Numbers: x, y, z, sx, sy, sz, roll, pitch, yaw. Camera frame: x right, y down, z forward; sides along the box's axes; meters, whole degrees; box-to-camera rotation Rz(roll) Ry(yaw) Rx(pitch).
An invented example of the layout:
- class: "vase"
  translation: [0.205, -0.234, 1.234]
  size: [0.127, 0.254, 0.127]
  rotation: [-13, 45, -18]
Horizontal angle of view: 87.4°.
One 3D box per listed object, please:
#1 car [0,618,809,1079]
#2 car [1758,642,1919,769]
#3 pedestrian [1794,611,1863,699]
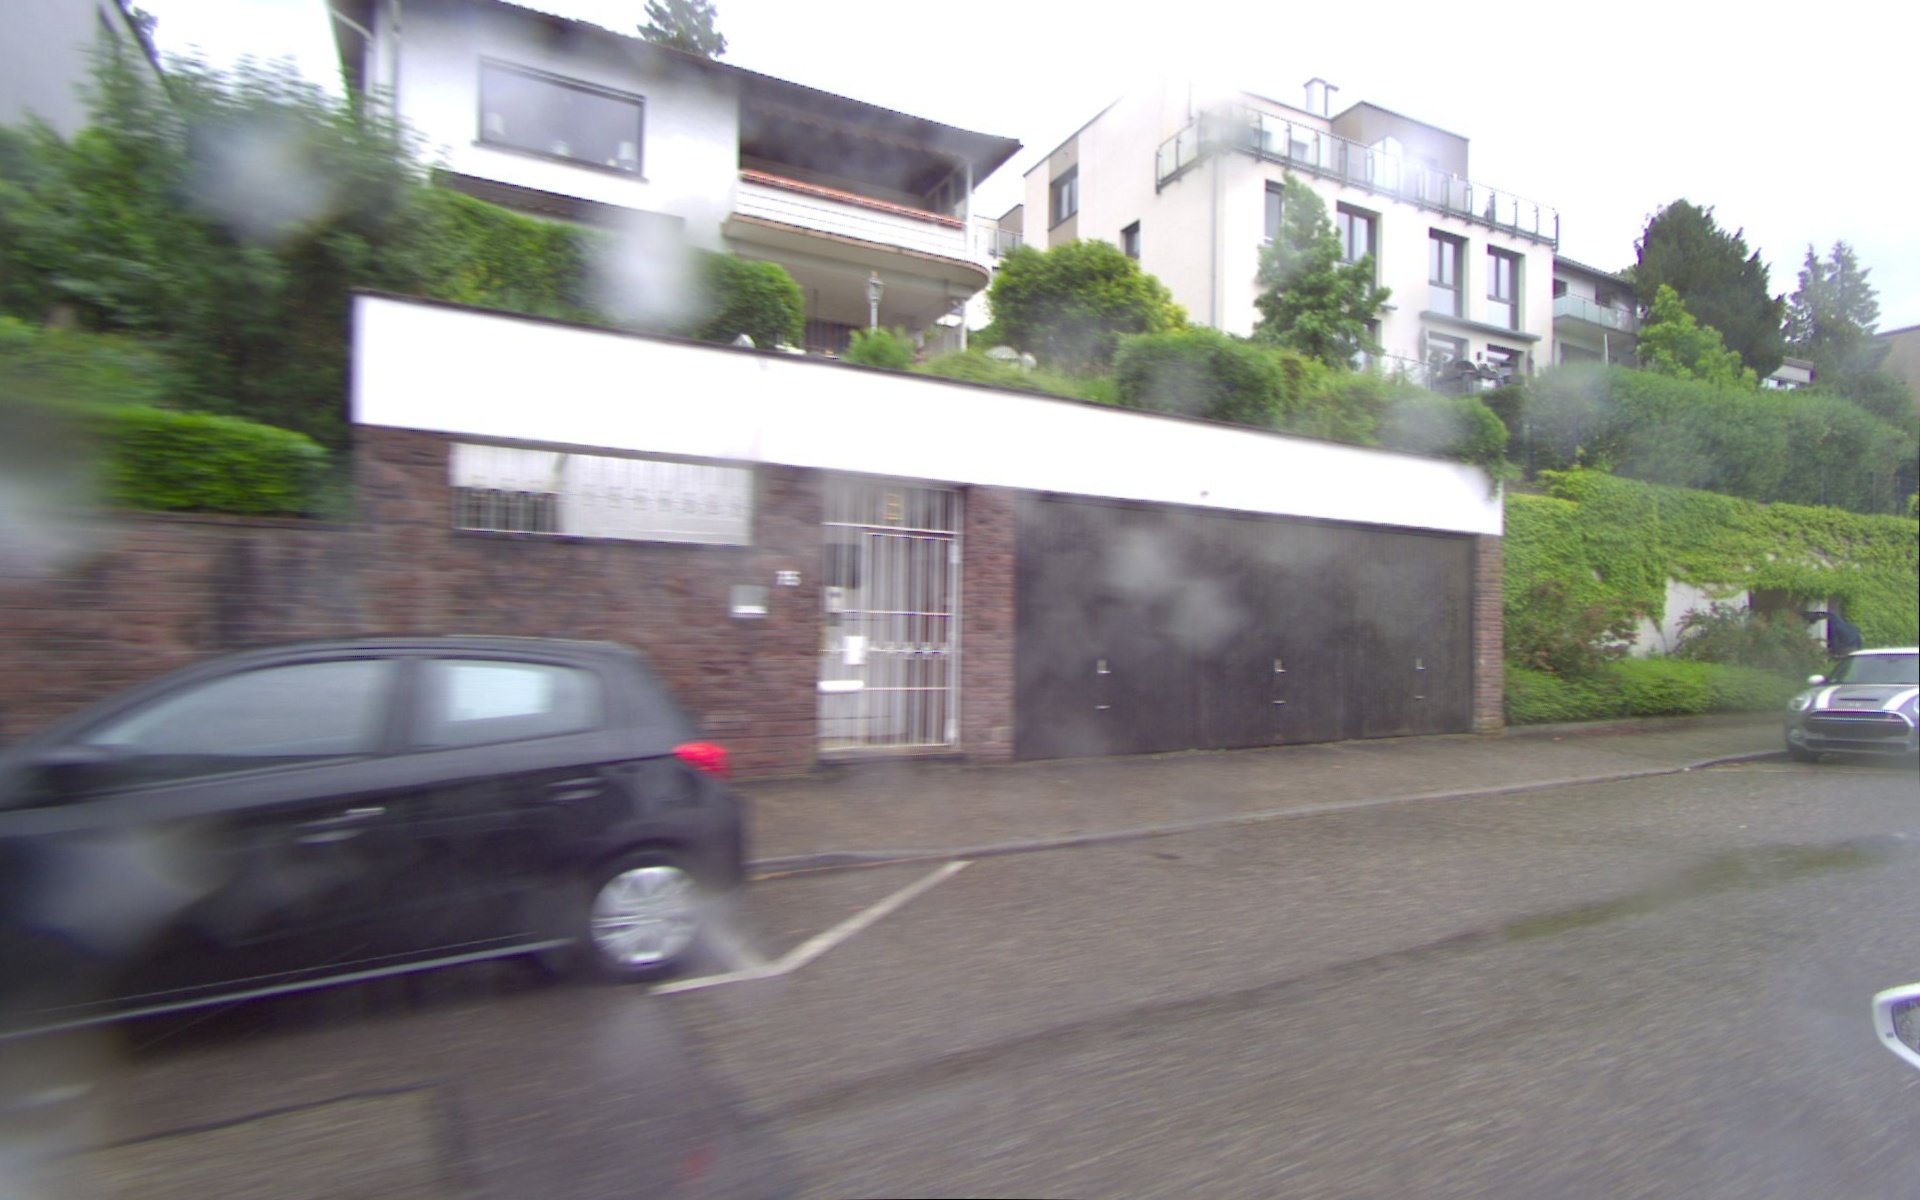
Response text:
- class: "car"
  translation: [-2.686, 0.841, 4.350]
  size: [3.662, 1.427, 1.748]
  rotation: [1, -4, -31]
- class: "car"
  translation: [12.091, 1.273, 12.821]
  size: [3.726, 1.420, 1.748]
  rotation: [2, -4, -31]
- class: "pedestrian"
  translation: [19.482, 1.216, 22.542]
  size: [0.890, 1.905, 0.839]
  rotation: [2, 0, -26]
